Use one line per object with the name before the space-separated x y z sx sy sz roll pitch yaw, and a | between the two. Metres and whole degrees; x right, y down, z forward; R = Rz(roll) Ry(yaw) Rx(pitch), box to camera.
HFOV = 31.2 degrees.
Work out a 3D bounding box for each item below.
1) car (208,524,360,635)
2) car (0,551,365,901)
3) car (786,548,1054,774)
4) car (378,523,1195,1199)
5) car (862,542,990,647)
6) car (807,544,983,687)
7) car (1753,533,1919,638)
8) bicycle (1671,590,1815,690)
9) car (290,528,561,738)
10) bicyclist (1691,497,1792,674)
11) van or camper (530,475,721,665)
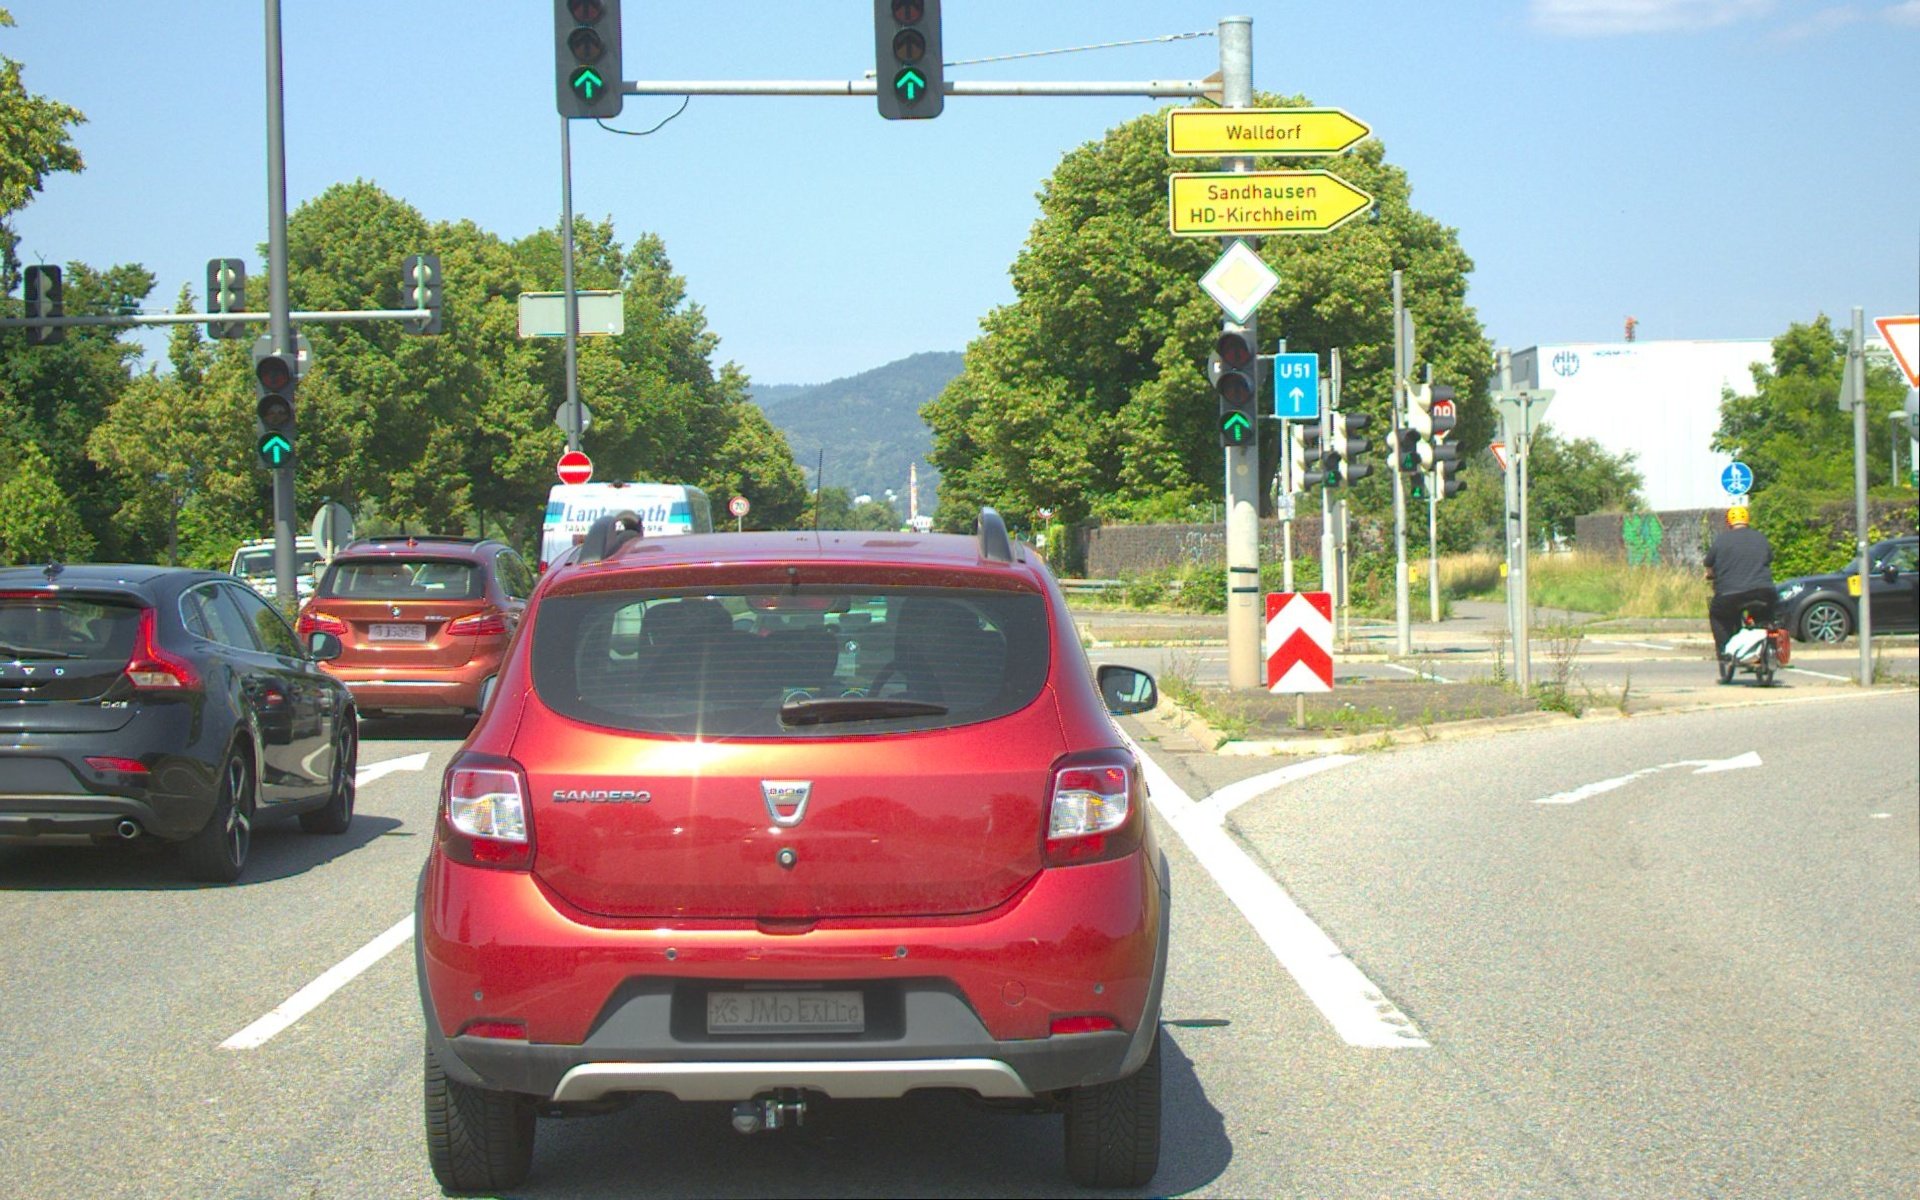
car | -12.686 -0.418 64.784 1.993 1.974 5.017 -1 1 -2
car | -4.047 0.502 16.435 1.702 1.437 3.955 0 1 0
car | -0.225 0.369 24.264 1.749 1.453 3.676 0 1 1
car | -0.336 0.592 9.203 1.749 1.570 3.676 0 1 1
car | -0.464 -0.108 50.263 1.749 1.453 3.676 0 1 1
car | -0.658 0.130 37.113 1.749 1.453 3.676 0 1 1
car | 12.541 -0.217 45.286 3.989 1.322 1.805 -1 1 11
bicycle | 7.977 0.387 35.153 0.761 0.911 2.780 -1 1 -1
car | -4.327 0.214 28.332 1.724 1.594 3.956 0 1 -2
bicyclist | 7.966 -0.153 35.068 0.802 1.765 0.809 -1 1 -1
van or camper | -4.210 -0.404 43.999 2.179 2.295 4.827 0 1 -3
